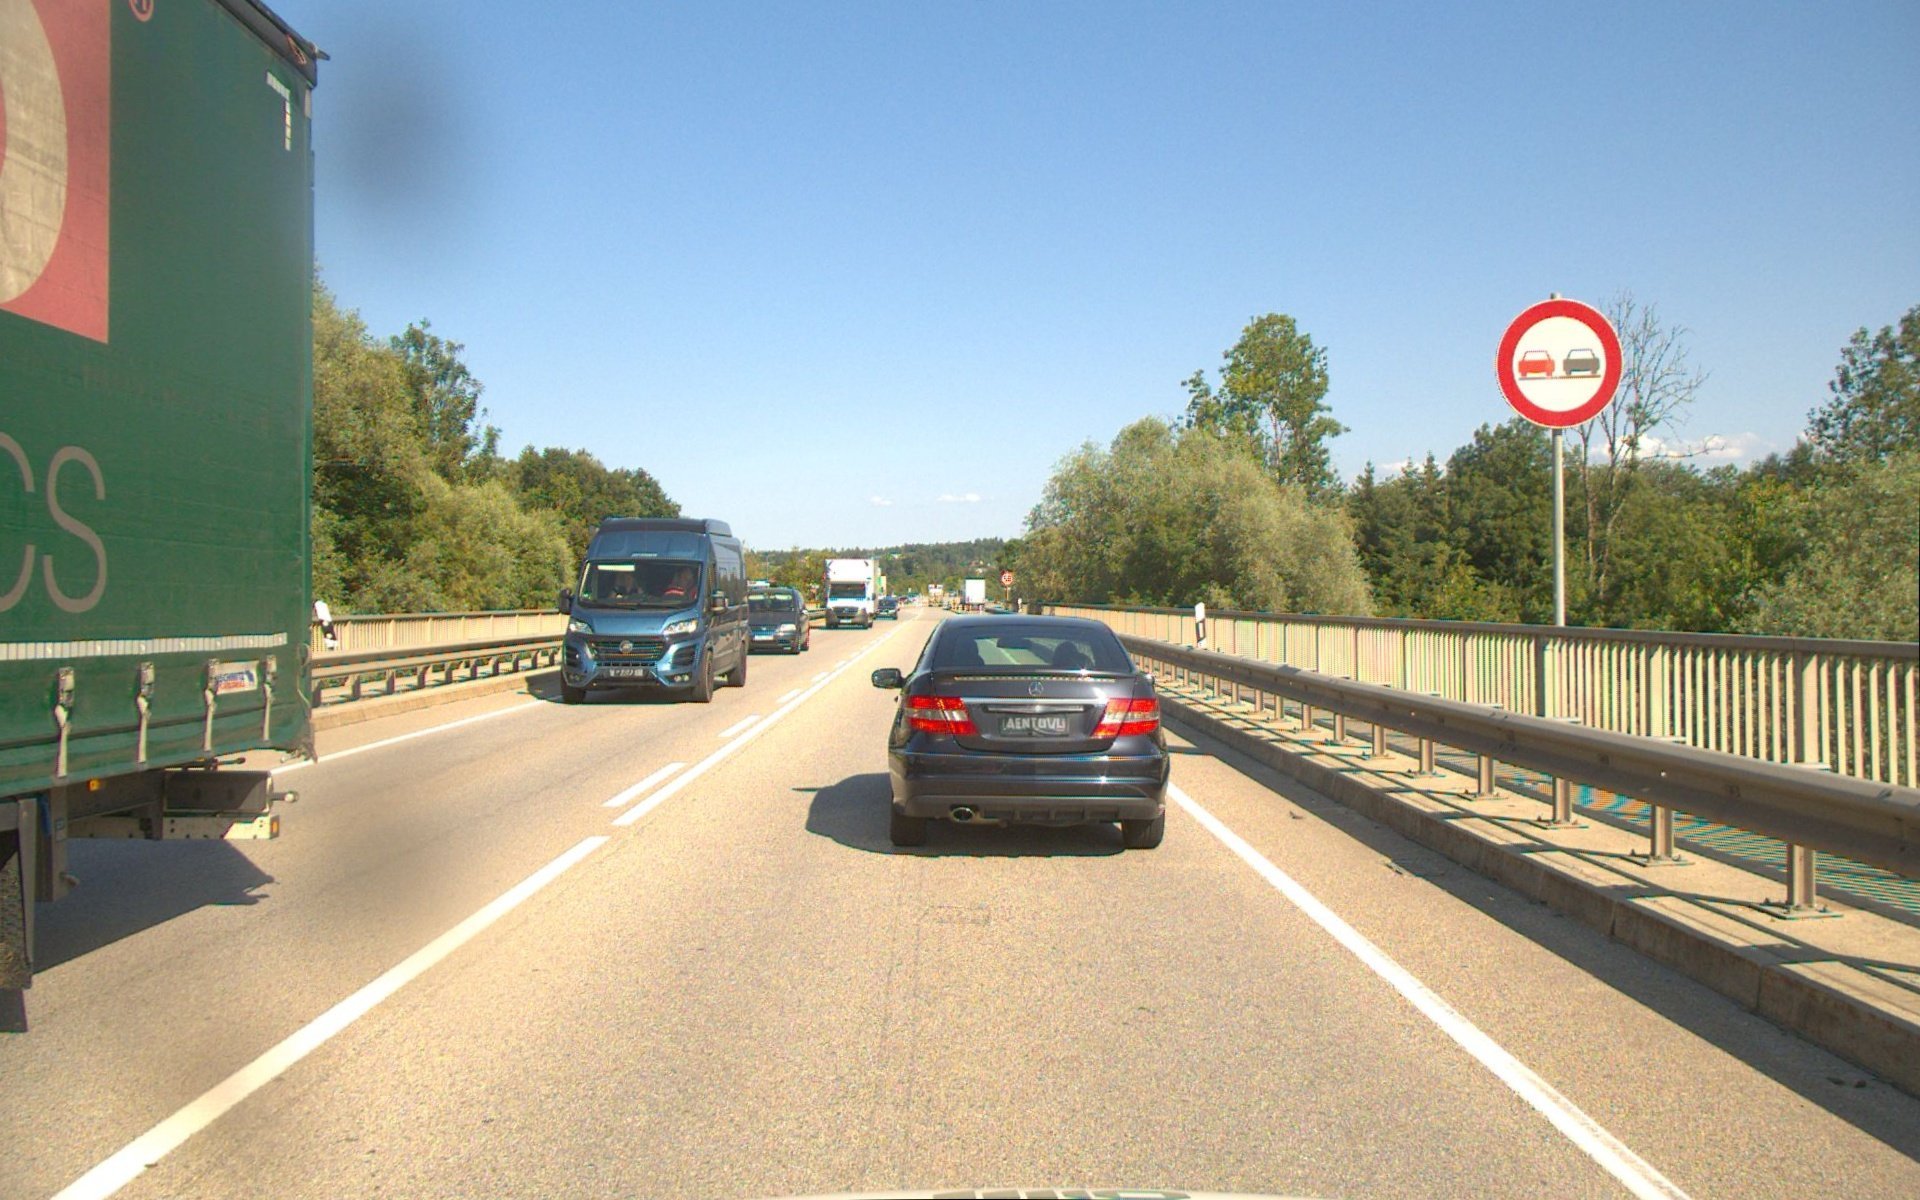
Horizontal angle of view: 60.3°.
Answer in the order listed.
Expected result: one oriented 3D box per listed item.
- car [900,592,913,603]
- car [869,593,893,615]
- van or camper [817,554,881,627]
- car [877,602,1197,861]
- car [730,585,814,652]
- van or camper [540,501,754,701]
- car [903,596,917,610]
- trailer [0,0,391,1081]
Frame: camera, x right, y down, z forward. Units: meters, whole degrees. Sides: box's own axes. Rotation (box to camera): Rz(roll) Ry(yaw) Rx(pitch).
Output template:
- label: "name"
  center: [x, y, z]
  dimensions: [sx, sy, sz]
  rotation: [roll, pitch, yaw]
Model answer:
- label: "car"
  center: [-7.759, -0.371, 242.198]
  dimensions: [1.767, 1.634, 3.915]
  rotation: [0, 0, 0]
- label: "car"
  center: [-5.500, 0.258, 115.085]
  dimensions: [1.627, 1.461, 4.185]
  rotation: [0, 0, -4]
- label: "van or camper"
  center: [-5.207, -0.457, 78.833]
  dimensions: [2.581, 3.313, 7.748]
  rotation: [0, 0, 0]
- label: "car"
  center: [0.440, 0.728, 11.109]
  dimensions: [1.756, 1.400, 4.000]
  rotation: [0, 0, 0]
- label: "car"
  center: [-4.926, 0.461, 43.941]
  dimensions: [1.804, 1.670, 4.576]
  rotation: [0, 0, -1]
- label: "van or camper"
  center: [-4.613, 0.004, 25.491]
  dimensions: [2.382, 2.688, 6.401]
  rotation: [0, 0, -3]
- label: "car"
  center: [-7.696, 0.460, 256.086]
  dimensions: [1.953, 2.049, 4.000]
  rotation: [0, 0, 0]
- label: "trailer"
  center: [-4.207, -0.748, 1.217]
  dimensions: [2.848, 4.377, 14.299]
  rotation: [0, 0, -1]
